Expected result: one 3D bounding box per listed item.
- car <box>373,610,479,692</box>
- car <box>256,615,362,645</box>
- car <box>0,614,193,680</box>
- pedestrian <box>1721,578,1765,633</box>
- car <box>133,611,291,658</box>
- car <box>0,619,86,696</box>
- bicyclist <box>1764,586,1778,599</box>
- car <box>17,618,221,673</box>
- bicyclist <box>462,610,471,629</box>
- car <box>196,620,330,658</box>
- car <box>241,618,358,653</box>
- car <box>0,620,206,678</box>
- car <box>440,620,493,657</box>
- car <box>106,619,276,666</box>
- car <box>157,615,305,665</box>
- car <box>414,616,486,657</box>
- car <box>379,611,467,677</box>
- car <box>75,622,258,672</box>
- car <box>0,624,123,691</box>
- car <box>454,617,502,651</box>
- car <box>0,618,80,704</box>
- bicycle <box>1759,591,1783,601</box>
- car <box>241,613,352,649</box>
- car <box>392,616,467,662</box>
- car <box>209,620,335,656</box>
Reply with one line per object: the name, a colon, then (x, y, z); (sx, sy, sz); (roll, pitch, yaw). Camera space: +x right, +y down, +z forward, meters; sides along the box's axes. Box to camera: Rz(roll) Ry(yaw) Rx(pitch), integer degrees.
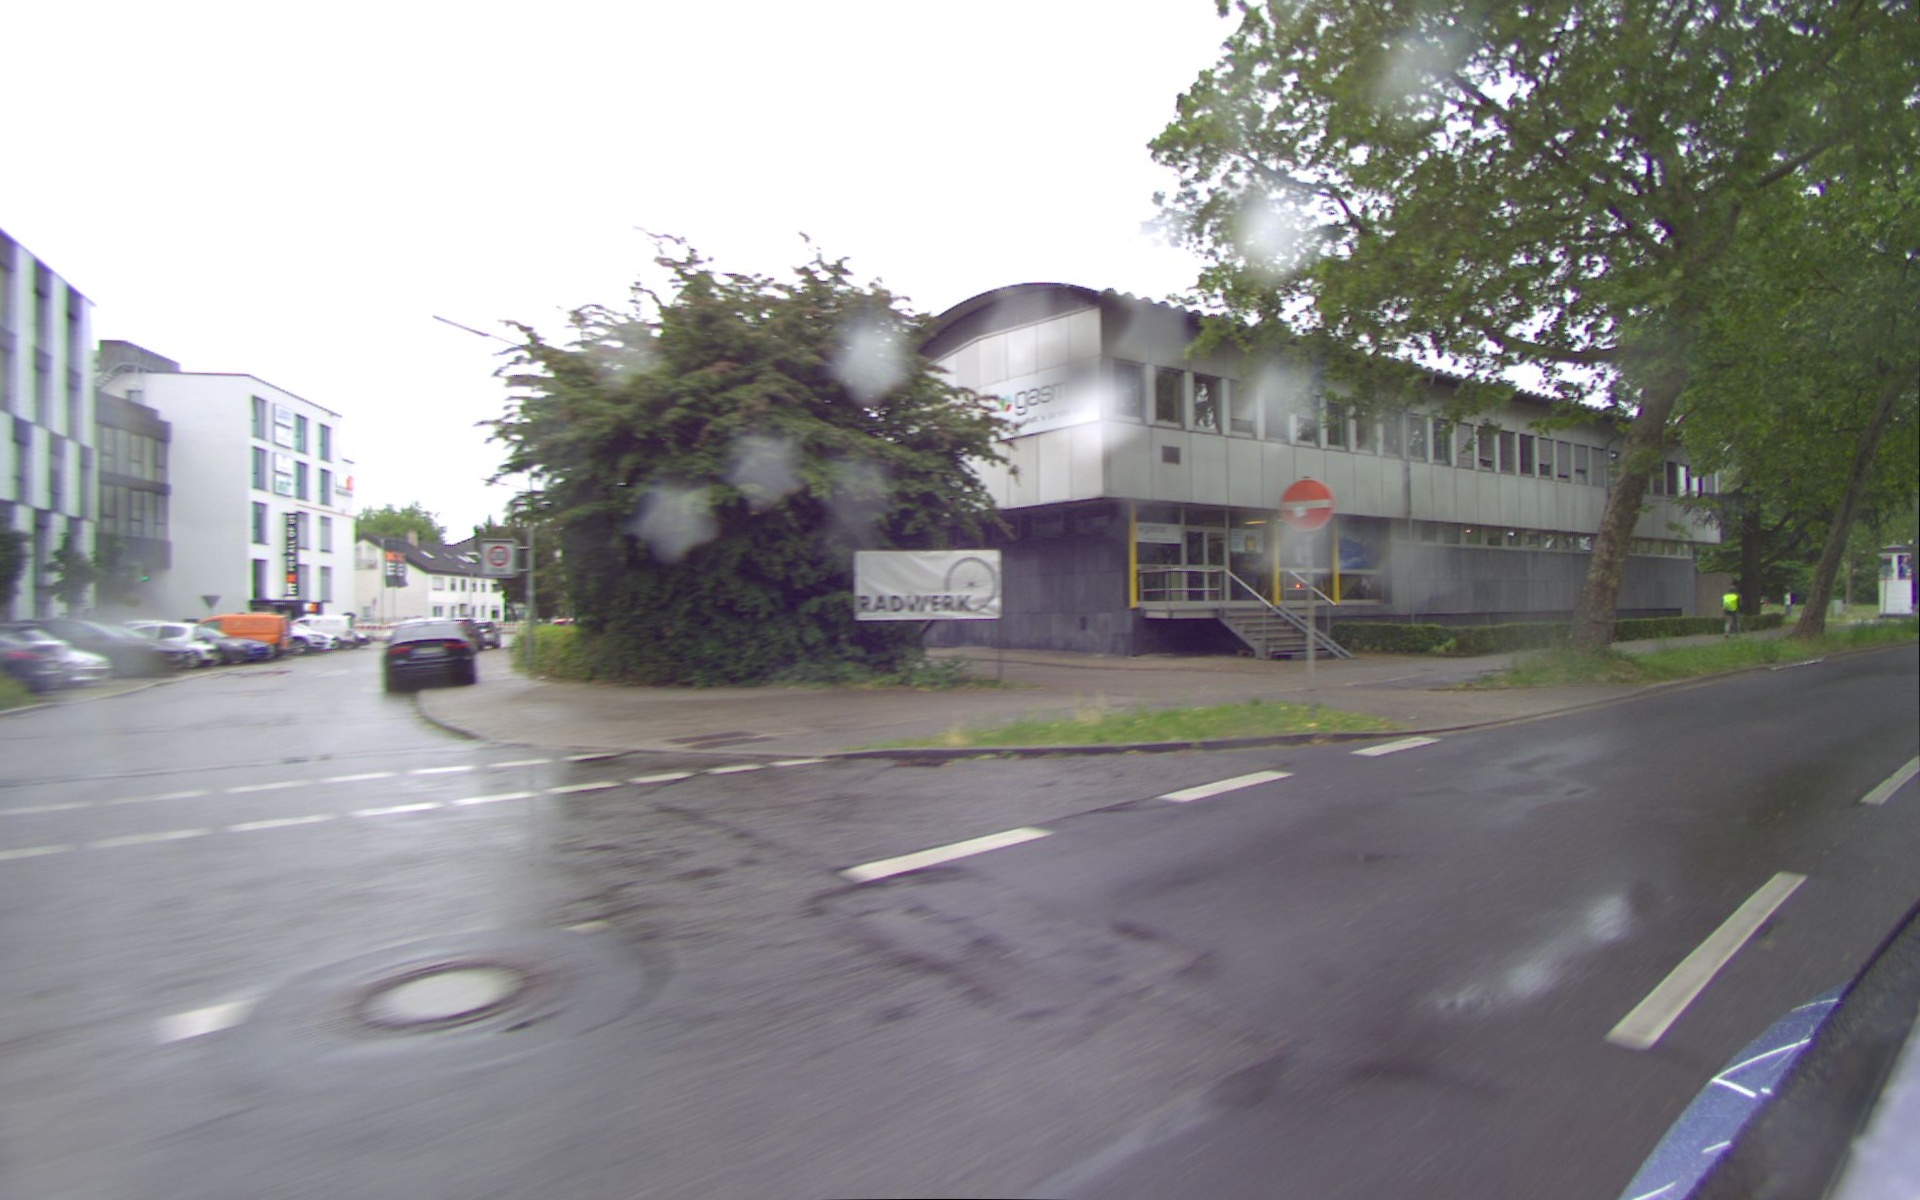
car: (-12.041, 1.084, 23.009); (1.856, 1.525, 4.311); (-5, 1, -26)
car: (-35.492, 1.609, 55.325); (4.632, 1.549, 1.896); (0, 0, -26)
car: (-23.965, 1.246, 27.543); (4.632, 1.637, 1.896); (0, 0, -26)
pedestrian: (25.045, 0.176, 32.391); (0.882, 1.717, 0.834); (-1, -1, -32)
car: (-28.724, 1.291, 39.048); (4.632, 1.682, 1.896); (0, 0, -26)
car: (-21.285, 1.204, 20.847); (4.633, 1.549, 1.896); (0, -1, -27)
bicyclist: (78.134, -0.717, 97.494); (0.669, 1.159, 0.745); (-1, 0, -8)
car: (-26.433, 1.382, 32.049); (4.632, 1.549, 1.896); (0, 0, -26)
bicyclist: (-41.968, 1.667, 86.060); (0.662, 1.556, 0.648); (-1, 0, -20)
car: (-30.817, 1.691, 44.918); (4.632, 1.549, 1.943); (0, 0, -26)
car: (-32.615, 1.728, 50.107); (4.632, 1.549, 1.896); (0, 0, -26)
car: (-25.446, 1.398, 30.024); (4.632, 1.525, 1.896); (0, 0, -26)
car: (-23.779, 1.811, 48.901); (1.855, 1.487, 3.974); (-4, 1, -20)
car: (-27.799, 1.500, 36.778); (4.632, 1.549, 1.896); (0, 0, -26)
car: (-29.739, 1.600, 41.482); (4.632, 1.869, 1.896); (0, 0, -26)
car: (-22.046, 1.536, 43.891); (1.854, 1.487, 4.315); (-4, 1, -15)
car: (-15.073, 1.177, 28.597); (1.855, 1.548, 4.313); (-4, 1, -24)
car: (-27.043, 1.565, 34.693); (4.632, 1.549, 1.896); (0, 0, -26)
car: (-22.452, 1.333, 23.243); (4.632, 1.431, 1.896); (0, 0, -26)
car: (-25.345, 1.745, 53.344); (1.855, 1.487, 4.314); (-4, 1, -20)
car: (-19.592, 1.154, 18.737); (4.632, 1.549, 1.896); (0, 0, -26)
bicycle: (78.145, -0.402, 97.531); (0.669, 0.896, 1.868); (-1, 0, -8)
car: (-34.605, 1.594, 52.938); (4.632, 1.750, 1.896); (0, 0, -26)
car: (-20.629, 1.479, 39.494); (1.854, 1.487, 4.315); (-4, 1, -19)
car: (-32.247, 1.745, 47.601); (4.632, 1.549, 1.896); (0, 0, -26)
